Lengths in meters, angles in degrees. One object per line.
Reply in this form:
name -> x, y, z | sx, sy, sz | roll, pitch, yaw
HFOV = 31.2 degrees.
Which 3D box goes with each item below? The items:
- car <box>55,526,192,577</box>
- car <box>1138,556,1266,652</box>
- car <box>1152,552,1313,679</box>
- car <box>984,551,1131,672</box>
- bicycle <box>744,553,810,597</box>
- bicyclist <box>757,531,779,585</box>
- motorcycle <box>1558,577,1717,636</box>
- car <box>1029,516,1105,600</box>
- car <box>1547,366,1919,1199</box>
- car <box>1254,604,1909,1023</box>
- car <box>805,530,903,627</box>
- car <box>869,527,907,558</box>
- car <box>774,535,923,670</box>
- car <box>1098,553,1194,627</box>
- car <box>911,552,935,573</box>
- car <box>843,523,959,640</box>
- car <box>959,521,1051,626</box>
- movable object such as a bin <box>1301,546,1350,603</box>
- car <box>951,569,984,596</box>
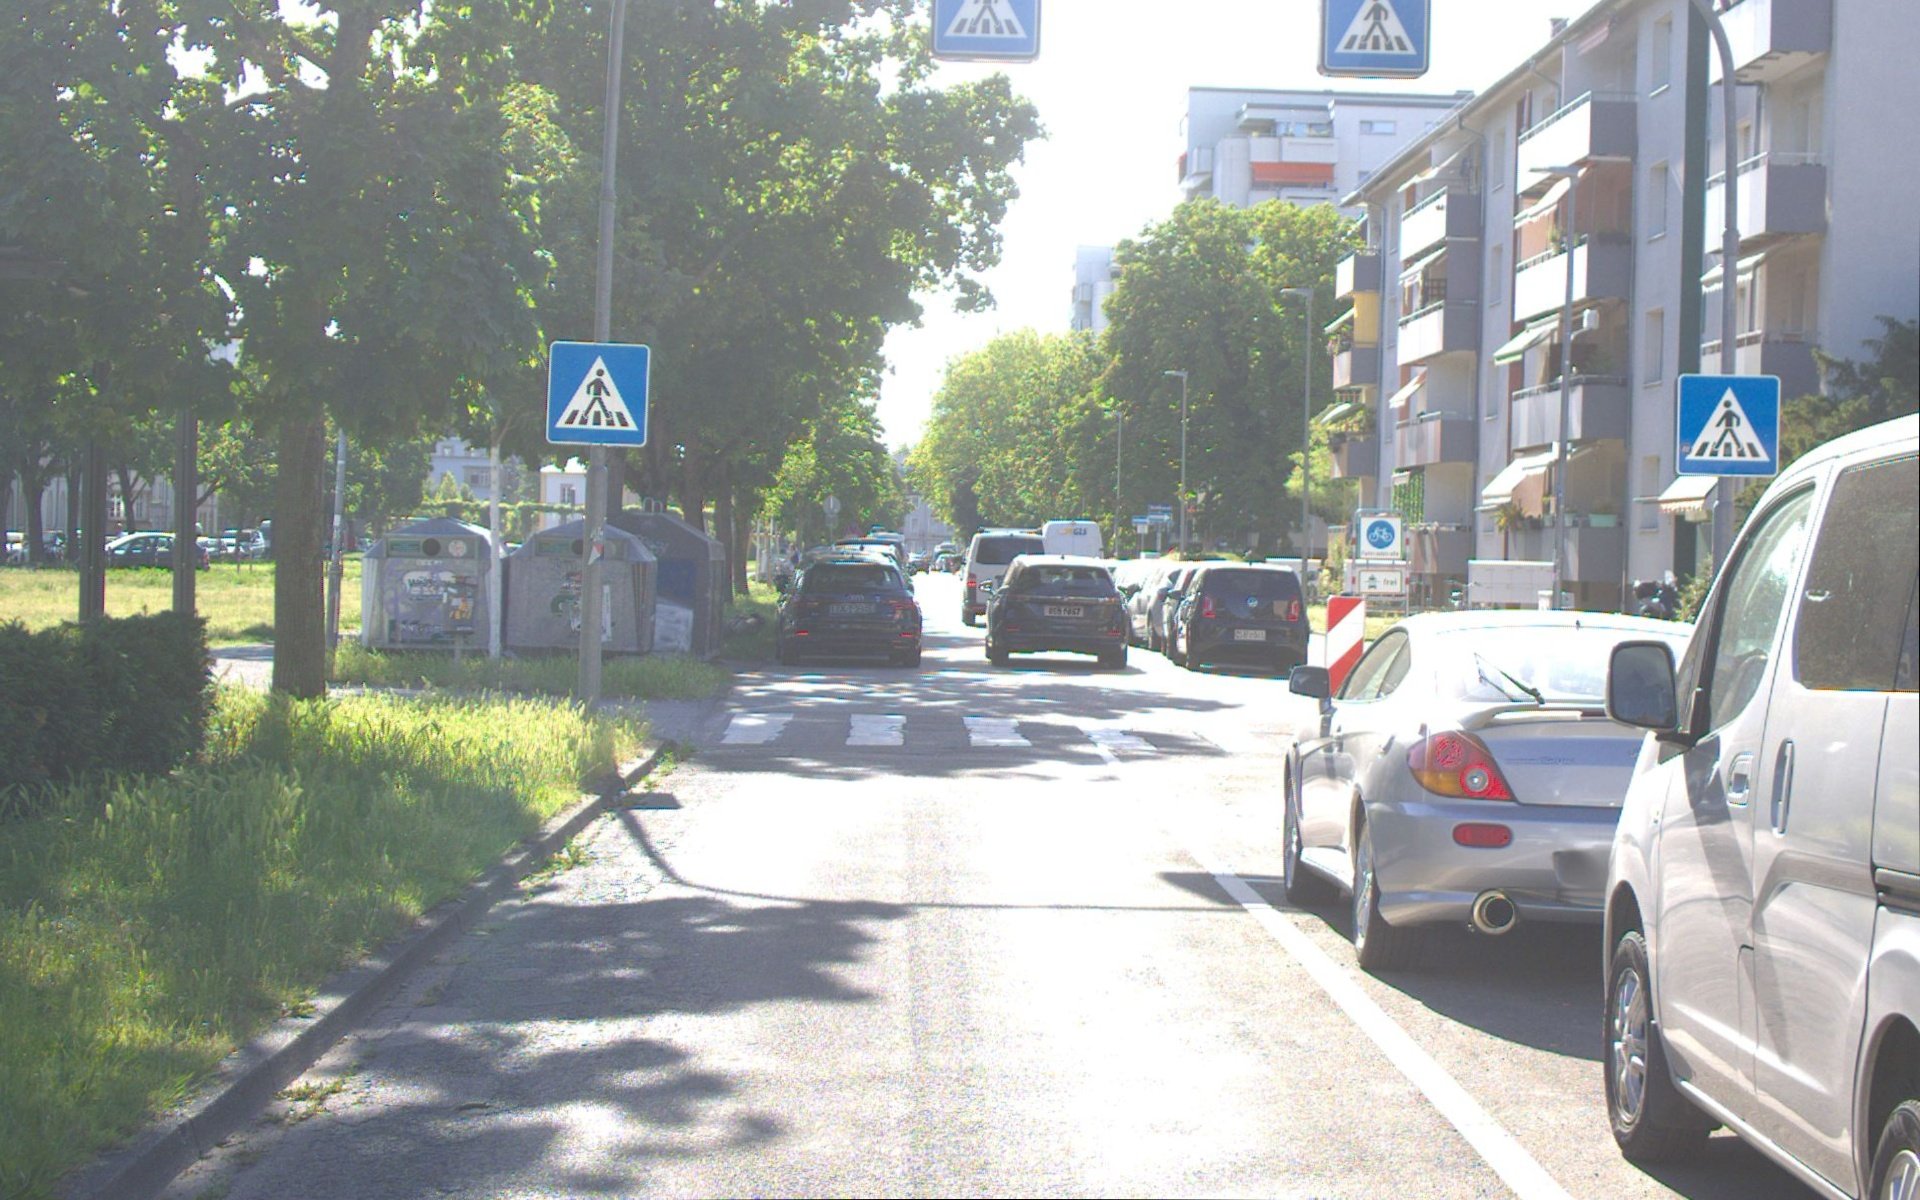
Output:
car -> -26.862, -1.572, 110.497 | 3.986, 1.505, 1.800 | 2, 1, -4
car -> 4.050, 0.033, 57.995 | 1.794, 1.505, 4.000 | 2, 1, 0
car -> 3.666, 0.174, 46.893 | 1.794, 1.595, 4.000 | 2, 1, 0
car -> 1.269, 0.120, 46.204 | 1.794, 1.505, 4.000 | 2, 1, 0
bicycle -> -6.558, -0.889, 123.252 | 2.322, 1.534, 0.630 | 1, 1, -5
bicyclist -> -6.881, -1.495, 123.219 | 0.770, 1.914, 0.630 | 1, 1, -5
motorcycle -> 11.783, 0.107, 59.829 | 2.558, 0.932, 0.830 | 2, 1, -3
car -> 3.254, -1.291, 105.446 | 1.993, 2.422, 4.500 | 4, 1, -1
car -> 2.495, 0.551, 7.214 | 1.794, 1.849, 4.413 | 2, 1, 1
car -> 2.264, 0.718, 13.614 | 1.764, 1.314, 4.168 | 3, 0, 0
car -> -2.251, -0.469, 73.741 | 1.993, 2.007, 4.000 | 1, 1, 0
car -> -3.552, -2.839, 169.672 | 1.794, 1.505, 4.000 | 1, 1, 0
car -> -1.414, 0.005, 44.863 | 1.794, 1.619, 4.000 | 2, 1, 0
car -> 4.020, -0.238, 74.873 | 1.794, 1.505, 4.000 | 2, 1, 0
car -> -2.738, -2.808, 254.931 | 1.794, 1.505, 4.000 | 1, 1, 0
car -> -1.046, -0.343, 61.771 | 1.993, 2.007, 4.000 | 1, 1, 0
car -> 0.926, -0.584, 72.950 | 1.794, 2.115, 4.000 | 2, 1, 0
movable object such as a bin -> 10.035, -0.703, 94.439 | 1.091, 1.505, 2.002 | 2, 1, 0
car -> 0.428, -0.988, 192.292 | 1.794, 1.505, 4.000 | 1, 1, 0
